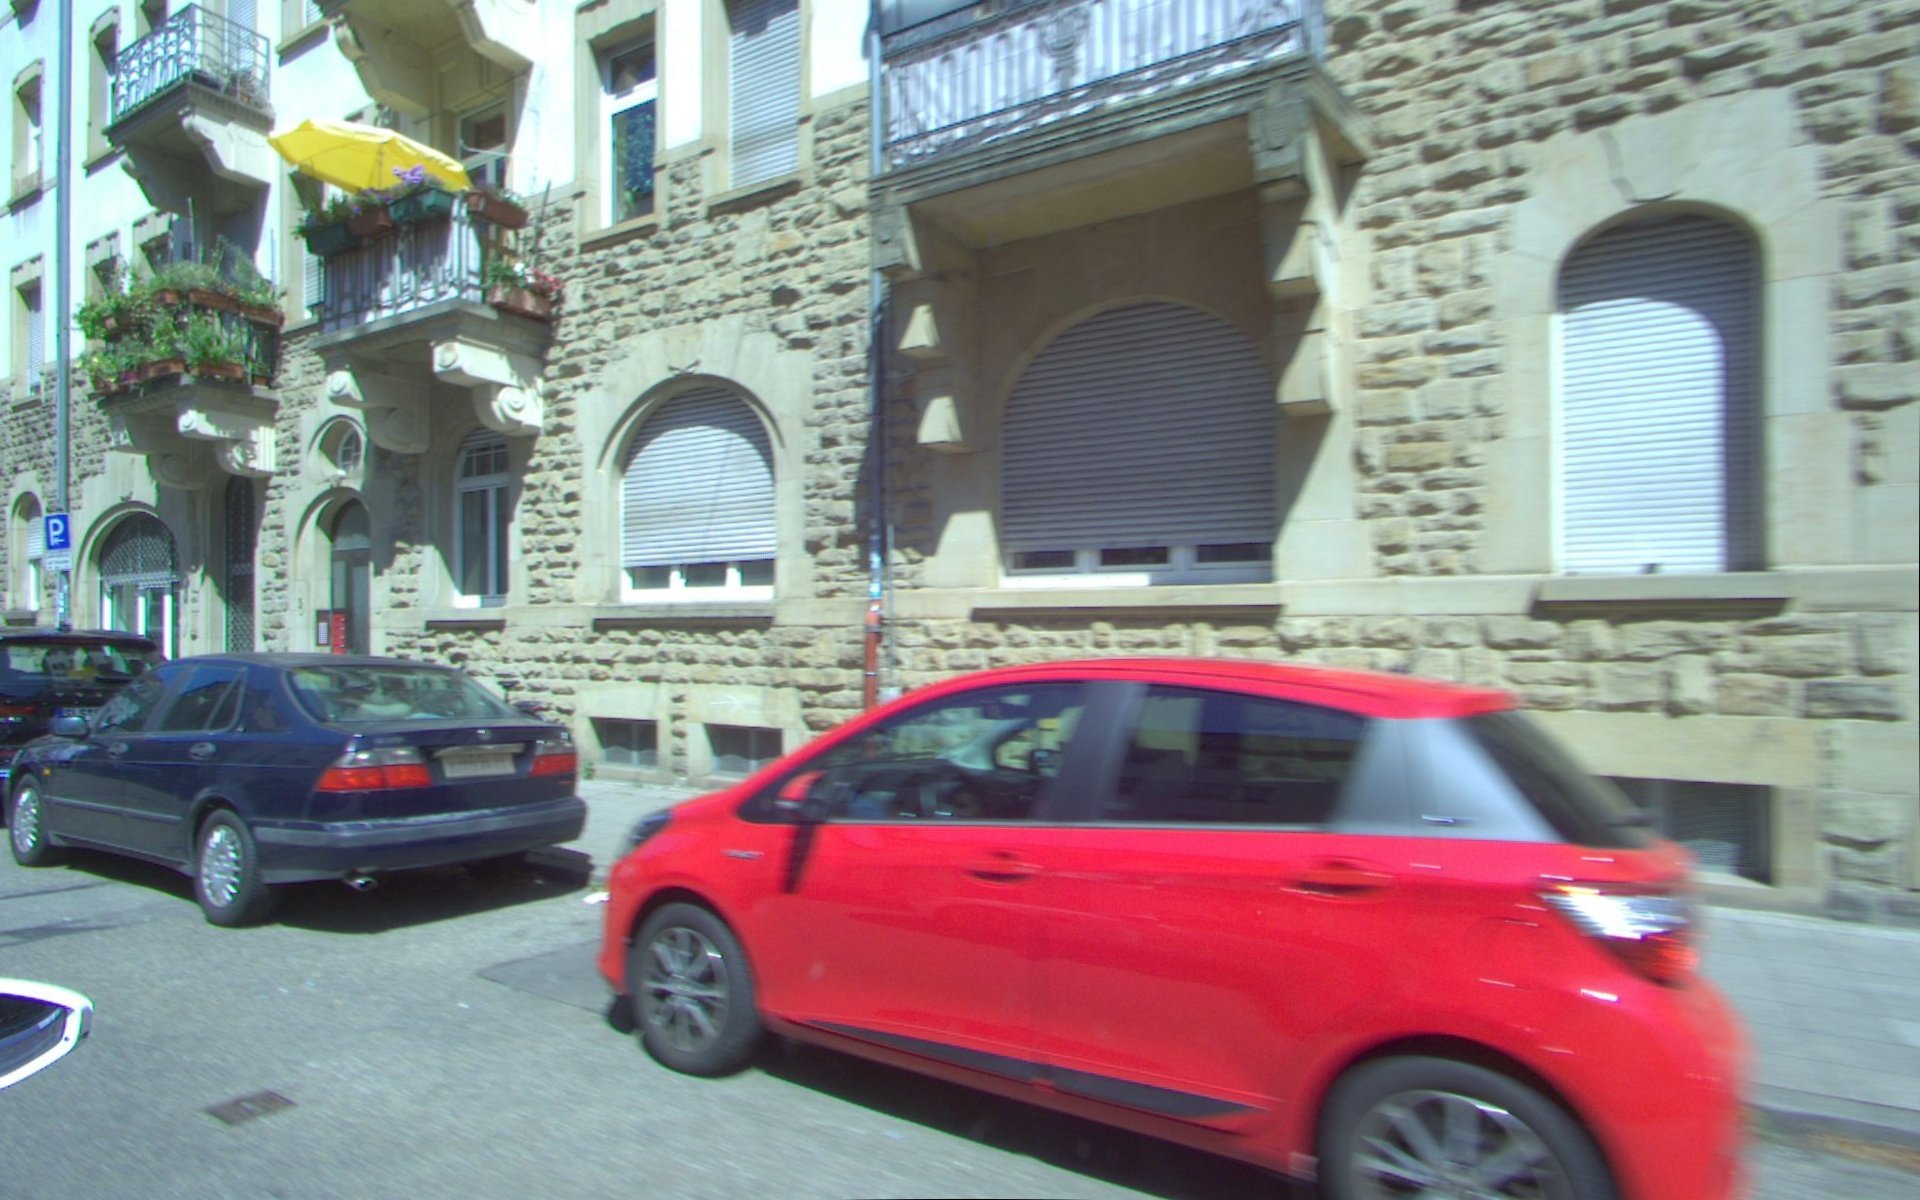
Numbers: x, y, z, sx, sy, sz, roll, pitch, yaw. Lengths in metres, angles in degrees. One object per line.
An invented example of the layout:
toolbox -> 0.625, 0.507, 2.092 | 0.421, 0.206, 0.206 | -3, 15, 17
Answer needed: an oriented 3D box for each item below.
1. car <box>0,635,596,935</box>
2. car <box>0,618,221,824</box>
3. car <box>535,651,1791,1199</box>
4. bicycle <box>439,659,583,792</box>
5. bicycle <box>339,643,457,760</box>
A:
car -> -4.319, 0.983, 6.404 | 3.912, 1.415, 1.513 | -1, -6, 29
car -> -9.118, 1.012, 9.381 | 4.536, 1.586, 1.832 | -1, -4, 30
car -> 0.378, 0.949, 3.590 | 3.787, 1.470, 1.569 | -1, -4, 31
bicycle -> -4.559, 1.221, 10.123 | 1.750, 1.223, 0.440 | -1, -1, 33
bicycle -> -6.327, 1.102, 11.234 | 1.750, 1.223, 0.383 | -1, -1, 33
